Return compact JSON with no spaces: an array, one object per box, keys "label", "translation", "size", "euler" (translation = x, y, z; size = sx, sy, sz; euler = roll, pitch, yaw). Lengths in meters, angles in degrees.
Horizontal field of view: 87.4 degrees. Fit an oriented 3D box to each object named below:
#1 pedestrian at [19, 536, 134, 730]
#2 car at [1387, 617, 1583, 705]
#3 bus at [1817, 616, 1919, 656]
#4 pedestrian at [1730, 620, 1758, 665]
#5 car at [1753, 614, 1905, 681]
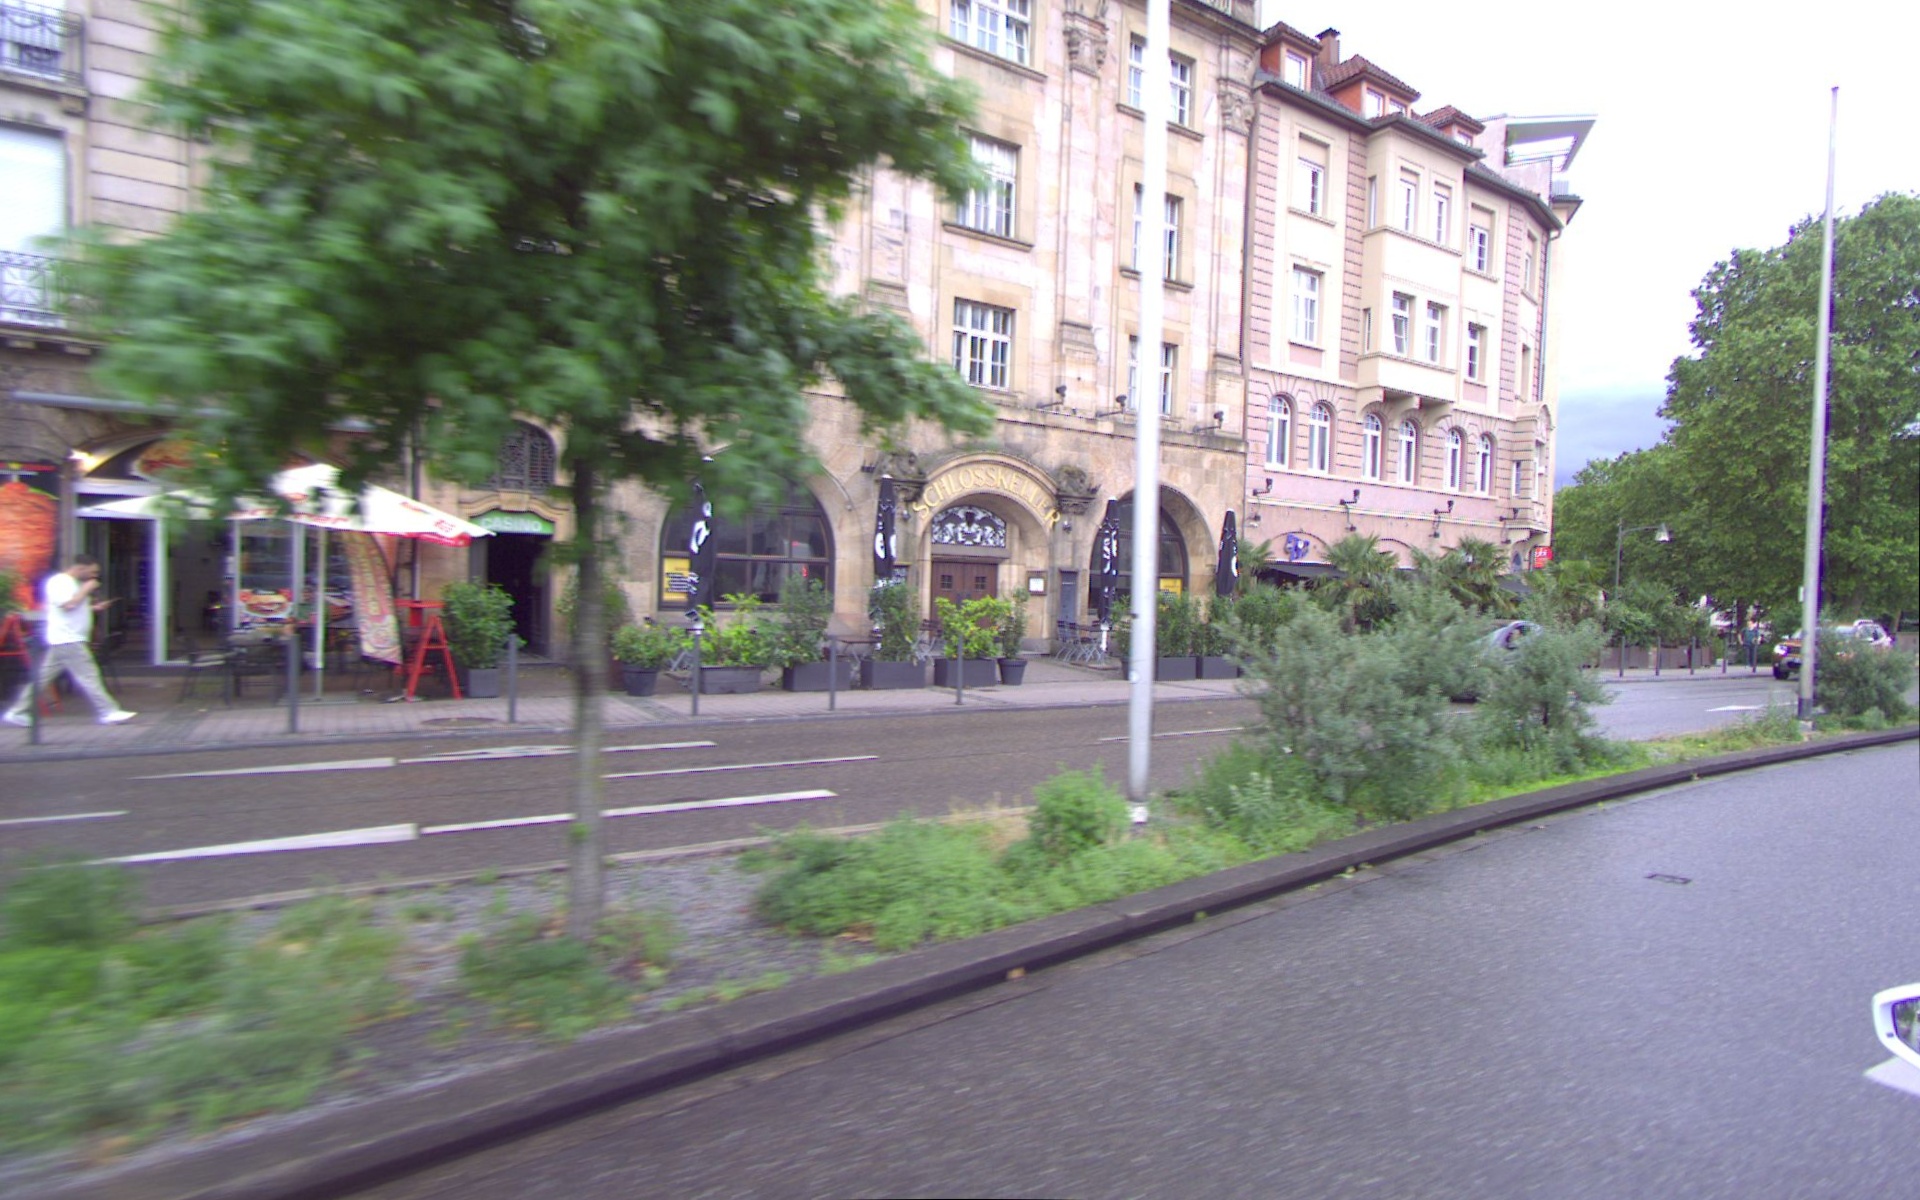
[{"label":"pedestrian","translation":[-9.228,0.336,10.525],"size":[0.756,1.935,0.673],"euler":[1,0,-30]},{"label":"car","translation":[9.747,1.074,18.583],"size":[3.721,1.451,1.618],"euler":[1,0,-34]},{"label":"bus","translation":[75.571,2.924,80.265],"size":[2.836,3.058,11.962],"euler":[1,-3,-8]},{"label":"pedestrian","translation":[27.917,1.508,35.772],"size":[0.722,1.550,0.683],"euler":[1,-1,-41]},{"label":"car","translation":[24.324,1.290,28.112],"size":[4.053,1.703,1.984],"euler":[1,0,-30]}]
